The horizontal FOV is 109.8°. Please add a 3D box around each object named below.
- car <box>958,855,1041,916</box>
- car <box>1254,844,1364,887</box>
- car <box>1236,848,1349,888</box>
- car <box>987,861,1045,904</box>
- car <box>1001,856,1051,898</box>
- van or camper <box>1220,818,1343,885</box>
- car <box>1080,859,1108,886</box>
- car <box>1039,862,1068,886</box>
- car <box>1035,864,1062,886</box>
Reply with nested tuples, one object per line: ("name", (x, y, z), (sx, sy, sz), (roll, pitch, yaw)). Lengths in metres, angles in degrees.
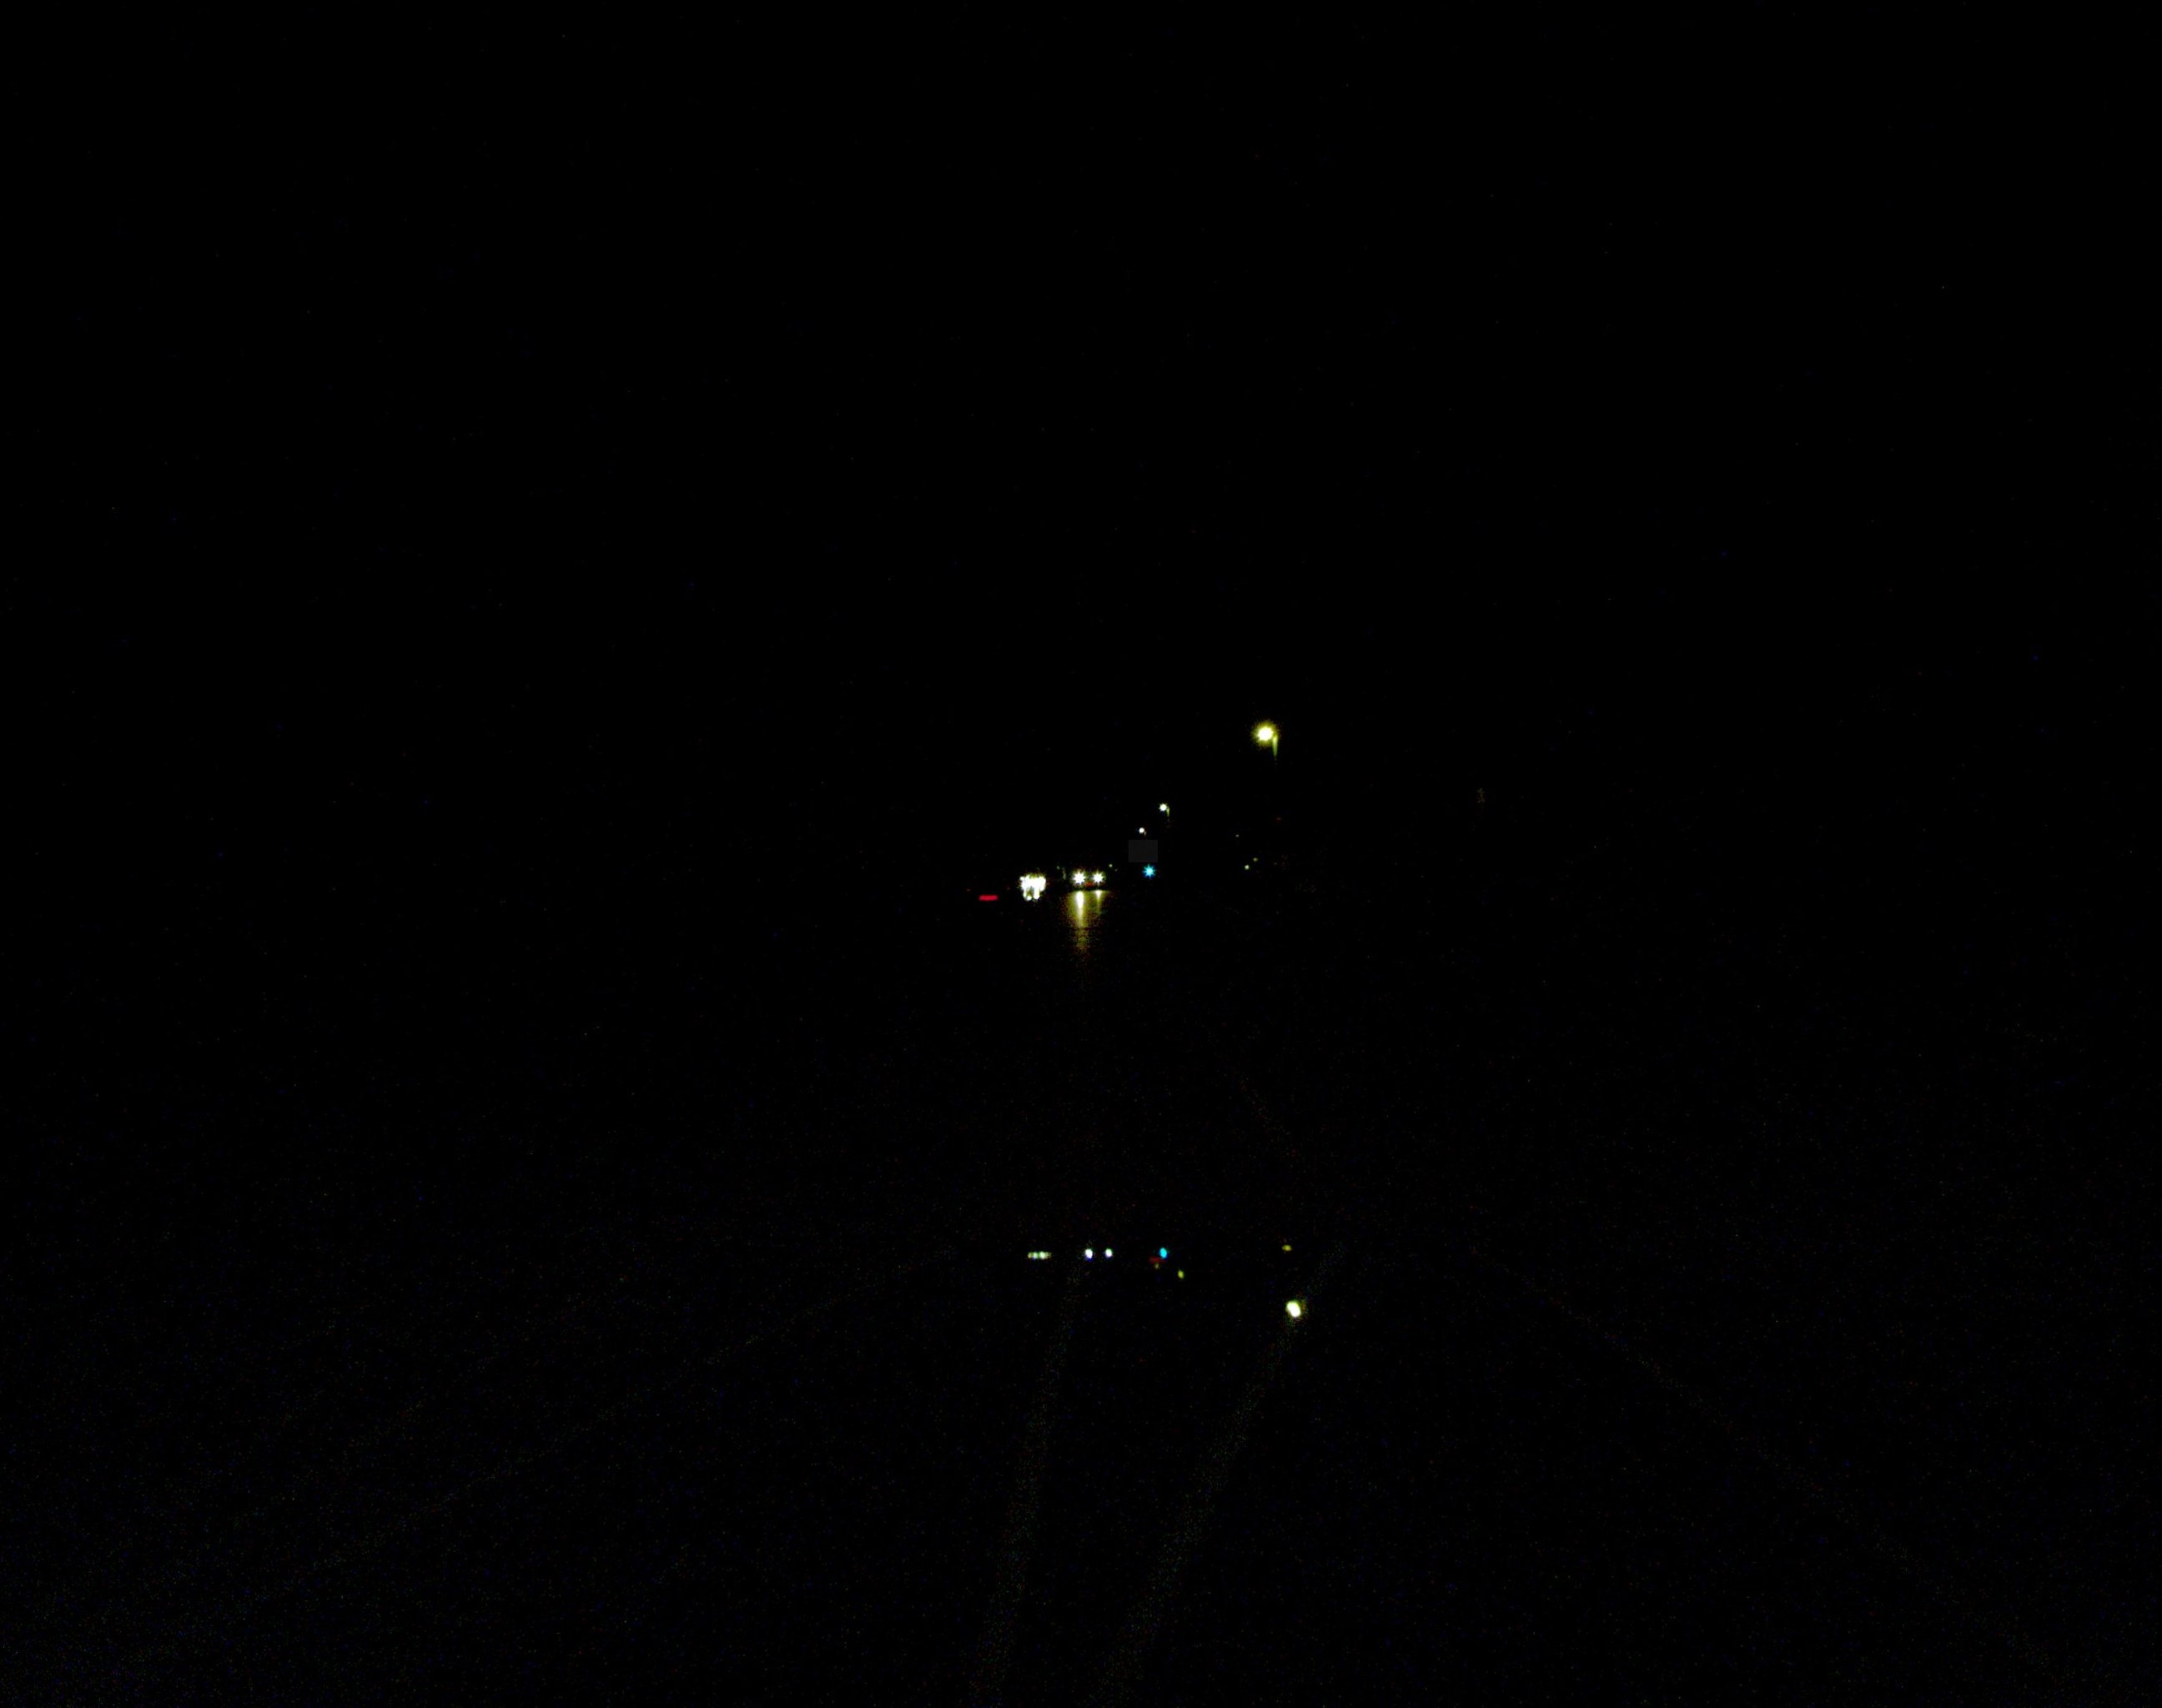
("car", (-2.436, 0.914, 23.864), (1.836, 1.654, 4.619), (-2, 0, 3))
("car", (9.167, 0.478, 30.806), (3.820, 1.545, 1.928), (-2, -2, 1))
("car", (9.295, 0.598, 33.632), (4.427, 1.604, 2.065), (-2, 0, 2))
("car", (-2.449, 1.051, 29.491), (1.748, 1.462, 4.257), (-3, -1, 1))
("car", (-2.449, 1.027, 34.985), (1.723, 1.750, 4.759), (-3, -1, 2))
("van or camper", (9.818, -0.144, 37.376), (5.416, 3.093, 2.131), (-2, 1, -9))
("car", (0.758, 1.095, 44.005), (1.513, 1.492, 3.051), (-1, -2, 1))
("car", (-1.989, 1.491, 56.764), (1.759, 1.584, 4.730), (-3, -1, 2))
("car", (-2.173, 1.458, 52.256), (1.613, 1.452, 3.718), (1, -2, 1))
